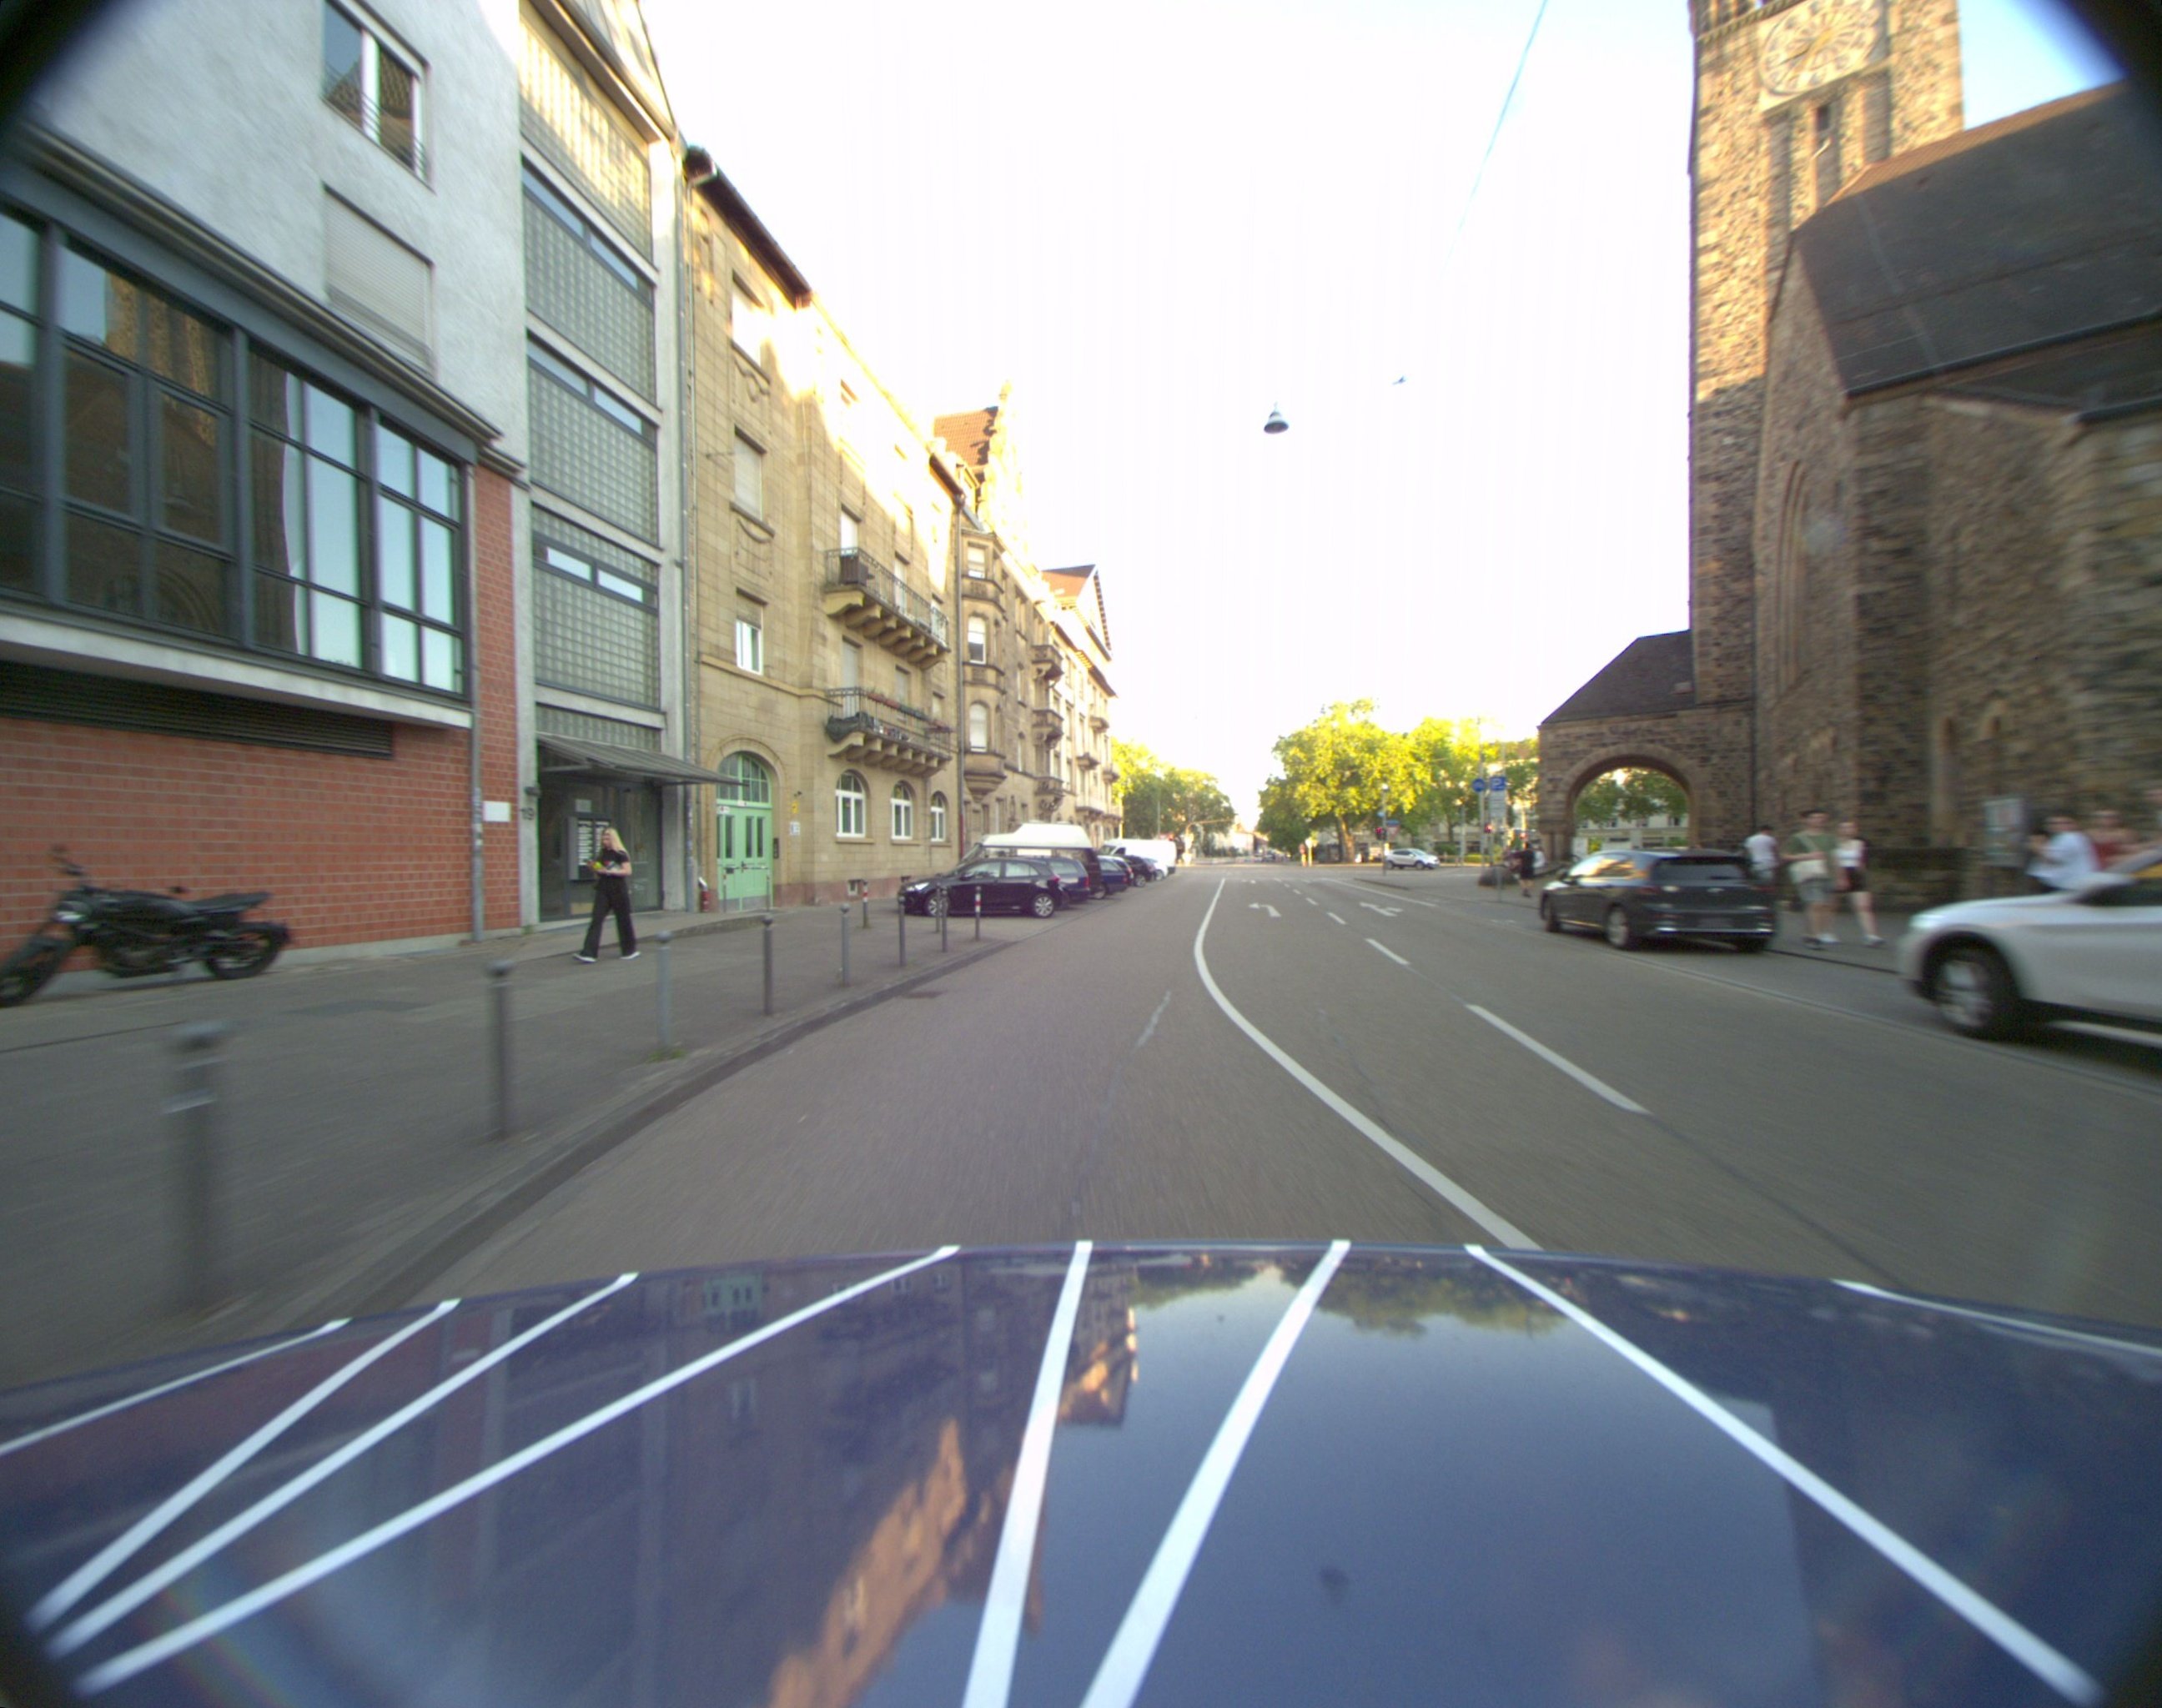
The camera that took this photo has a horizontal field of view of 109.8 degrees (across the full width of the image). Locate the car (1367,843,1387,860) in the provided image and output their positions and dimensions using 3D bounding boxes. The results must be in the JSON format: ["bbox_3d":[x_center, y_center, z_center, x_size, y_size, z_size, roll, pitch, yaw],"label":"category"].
[{"bbox_3d":[35.485,-0.294,90.982,1.864,2.002,3.817,0,0,26],"label":"car"}]

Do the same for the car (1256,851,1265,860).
[{"bbox_3d":[41.772,0.373,176.489,1.989,1.945,4.601,-1,0,15],"label":"car"}]

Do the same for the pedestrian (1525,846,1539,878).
[{"bbox_3d":[19.730,0.347,33.239,0.549,1.398,0.401,-1,1,-43],"label":"pedestrian"}]

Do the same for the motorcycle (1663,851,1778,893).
[{"bbox_3d":[18.548,0.523,22.107,2.418,1.119,0.823,-3,0,16],"label":"motorcycle"}]

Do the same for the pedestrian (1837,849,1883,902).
[{"bbox_3d":[15.597,0.420,15.222,0.497,1.042,0.609,-1,1,32],"label":"pedestrian"}]

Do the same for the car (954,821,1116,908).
[{"bbox_3d":[-1.458,0.265,23.814,4.729,2.532,1.915,-1,1,-17],"label":"car"}]

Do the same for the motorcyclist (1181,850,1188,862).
[{"bbox_3d":[13.816,0.274,101.549,0.830,1.510,0.622,-1,1,-14],"label":"motorcyclist"}]

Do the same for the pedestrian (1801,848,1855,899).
[{"bbox_3d":[15.681,0.404,15.947,0.739,1.042,0.519,-1,1,-18],"label":"pedestrian"}]

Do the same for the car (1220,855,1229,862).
[{"bbox_3d":[33.231,0.948,175.836,1.792,1.571,4.005,-1,0,15],"label":"car"}]

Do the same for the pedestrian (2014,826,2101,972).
[{"bbox_3d":[11.161,0.495,8.689,0.415,1.612,0.547,-2,1,-28],"label":"pedestrian"}]

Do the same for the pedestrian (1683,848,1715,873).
[{"bbox_3d":[23.018,0.250,28.321,0.648,0.910,0.738,-1,1,-28],"label":"pedestrian"}]

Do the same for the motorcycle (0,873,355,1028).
[{"bbox_3d":[-8.660,0.797,7.281,0.801,1.133,2.442,2,1,11],"label":"motorcycle"}]

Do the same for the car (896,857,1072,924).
[{"bbox_3d":[-2.431,0.847,18.891,4.073,1.483,1.721,-1,0,-19],"label":"car"}]

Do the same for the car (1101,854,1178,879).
[{"bbox_3d":[3.580,0.730,46.495,4.261,1.445,1.995,0,1,-27],"label":"car"}]

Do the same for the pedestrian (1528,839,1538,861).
[{"bbox_3d":[37.571,-0.345,63.146,0.709,1.836,1.162,0,1,32],"label":"pedestrian"}]

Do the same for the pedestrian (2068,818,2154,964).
[{"bbox_3d":[12.210,0.419,9.011,0.415,1.665,0.547,-2,1,-28],"label":"pedestrian"}]

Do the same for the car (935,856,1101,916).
[{"bbox_3d":[-1.798,0.835,21.314,4.359,1.494,1.910,-1,0,-16],"label":"car"}]

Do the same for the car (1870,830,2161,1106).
[{"bbox_3d":[7.072,0.646,3.936,1.874,1.582,4.472,-1,0,10],"label":"car"}]

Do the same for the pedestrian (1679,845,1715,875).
[{"bbox_3d":[22.535,0.226,27.801,0.648,1.069,0.828,-1,1,-28],"label":"pedestrian"}]

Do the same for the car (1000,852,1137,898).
[{"bbox_3d":[-0.460,0.739,26.607,4.403,1.478,1.840,2,0,-19],"label":"car"}]

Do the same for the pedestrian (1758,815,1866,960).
[{"bbox_3d":[9.863,0.434,10.285,0.648,1.868,0.892,-1,1,9],"label":"pedestrian"}]

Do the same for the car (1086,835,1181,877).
[{"bbox_3d":[3.428,0.133,49.298,5.894,2.537,2.190,0,2,-29],"label":"car"}]

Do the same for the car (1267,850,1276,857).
[{"bbox_3d":[42.220,-0.093,168.670,1.825,1.565,4.005,-1,0,16],"label":"car"}]

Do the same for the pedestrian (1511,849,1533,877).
[{"bbox_3d":[22.278,0.443,38.411,0.701,1.366,0.801,-1,1,-45],"label":"pedestrian"}]

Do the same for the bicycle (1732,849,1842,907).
[{"bbox_3d":[15.506,0.521,16.734,1.729,1.241,0.438,0,1,26],"label":"bicycle"}]

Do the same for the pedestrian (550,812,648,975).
[{"bbox_3d":[-6.196,0.488,9.806,0.608,2.002,0.858,0,1,13],"label":"pedestrian"}]

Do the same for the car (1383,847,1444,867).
[{"bbox_3d":[25.849,0.243,59.213,1.845,1.549,3.989,-1,0,-36],"label":"car"}]

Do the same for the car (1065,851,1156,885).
[{"bbox_3d":[1.472,0.687,37.482,4.105,1.598,1.812,1,1,-26],"label":"car"}]

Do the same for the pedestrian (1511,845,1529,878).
[{"bbox_3d":[19.413,0.328,33.634,0.559,1.445,0.549,-1,1,-43],"label":"pedestrian"}]

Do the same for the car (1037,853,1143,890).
[{"bbox_3d":[0.373,0.751,32.219,4.040,1.423,1.864,2,1,-22],"label":"car"}]

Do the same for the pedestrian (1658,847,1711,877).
[{"bbox_3d":[21.873,0.283,27.562,0.686,1.088,1.330,-1,1,-28],"label":"pedestrian"}]

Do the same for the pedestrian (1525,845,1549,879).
[{"bbox_3d":[19.113,0.342,31.863,0.633,1.398,0.702,-1,1,-43],"label":"pedestrian"}]

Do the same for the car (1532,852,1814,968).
[{"bbox_3d":[8.702,0.697,11.721,1.786,1.427,4.320,-1,0,13],"label":"car"}]

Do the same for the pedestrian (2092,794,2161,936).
[{"bbox_3d":[11.917,0.117,8.456,0.650,1.536,0.586,-1,1,35],"label":"pedestrian"}]

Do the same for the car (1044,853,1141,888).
[{"bbox_3d":[0.522,0.755,34.705,4.063,1.490,1.750,1,1,-24],"label":"car"}]

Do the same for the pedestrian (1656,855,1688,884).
[{"bbox_3d":[19.795,0.502,25.452,0.562,0.962,0.648,-1,1,-22],"label":"pedestrian"}]

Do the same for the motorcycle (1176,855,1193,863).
[{"bbox_3d":[13.824,0.670,101.548,2.286,0.917,0.622,-1,0,-14],"label":"motorcycle"}]

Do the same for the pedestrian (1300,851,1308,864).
[{"bbox_3d":[27.482,0.458,93.732,0.745,1.619,0.661,-1,1,29],"label":"pedestrian"}]

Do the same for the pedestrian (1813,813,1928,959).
[{"bbox_3d":[10.479,0.412,10.122,0.573,1.846,0.989,-1,1,9],"label":"pedestrian"}]

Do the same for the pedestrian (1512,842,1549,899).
[{"bbox_3d":[13.703,0.485,23.176,0.715,1.715,0.692,-1,1,2],"label":"pedestrian"}]
